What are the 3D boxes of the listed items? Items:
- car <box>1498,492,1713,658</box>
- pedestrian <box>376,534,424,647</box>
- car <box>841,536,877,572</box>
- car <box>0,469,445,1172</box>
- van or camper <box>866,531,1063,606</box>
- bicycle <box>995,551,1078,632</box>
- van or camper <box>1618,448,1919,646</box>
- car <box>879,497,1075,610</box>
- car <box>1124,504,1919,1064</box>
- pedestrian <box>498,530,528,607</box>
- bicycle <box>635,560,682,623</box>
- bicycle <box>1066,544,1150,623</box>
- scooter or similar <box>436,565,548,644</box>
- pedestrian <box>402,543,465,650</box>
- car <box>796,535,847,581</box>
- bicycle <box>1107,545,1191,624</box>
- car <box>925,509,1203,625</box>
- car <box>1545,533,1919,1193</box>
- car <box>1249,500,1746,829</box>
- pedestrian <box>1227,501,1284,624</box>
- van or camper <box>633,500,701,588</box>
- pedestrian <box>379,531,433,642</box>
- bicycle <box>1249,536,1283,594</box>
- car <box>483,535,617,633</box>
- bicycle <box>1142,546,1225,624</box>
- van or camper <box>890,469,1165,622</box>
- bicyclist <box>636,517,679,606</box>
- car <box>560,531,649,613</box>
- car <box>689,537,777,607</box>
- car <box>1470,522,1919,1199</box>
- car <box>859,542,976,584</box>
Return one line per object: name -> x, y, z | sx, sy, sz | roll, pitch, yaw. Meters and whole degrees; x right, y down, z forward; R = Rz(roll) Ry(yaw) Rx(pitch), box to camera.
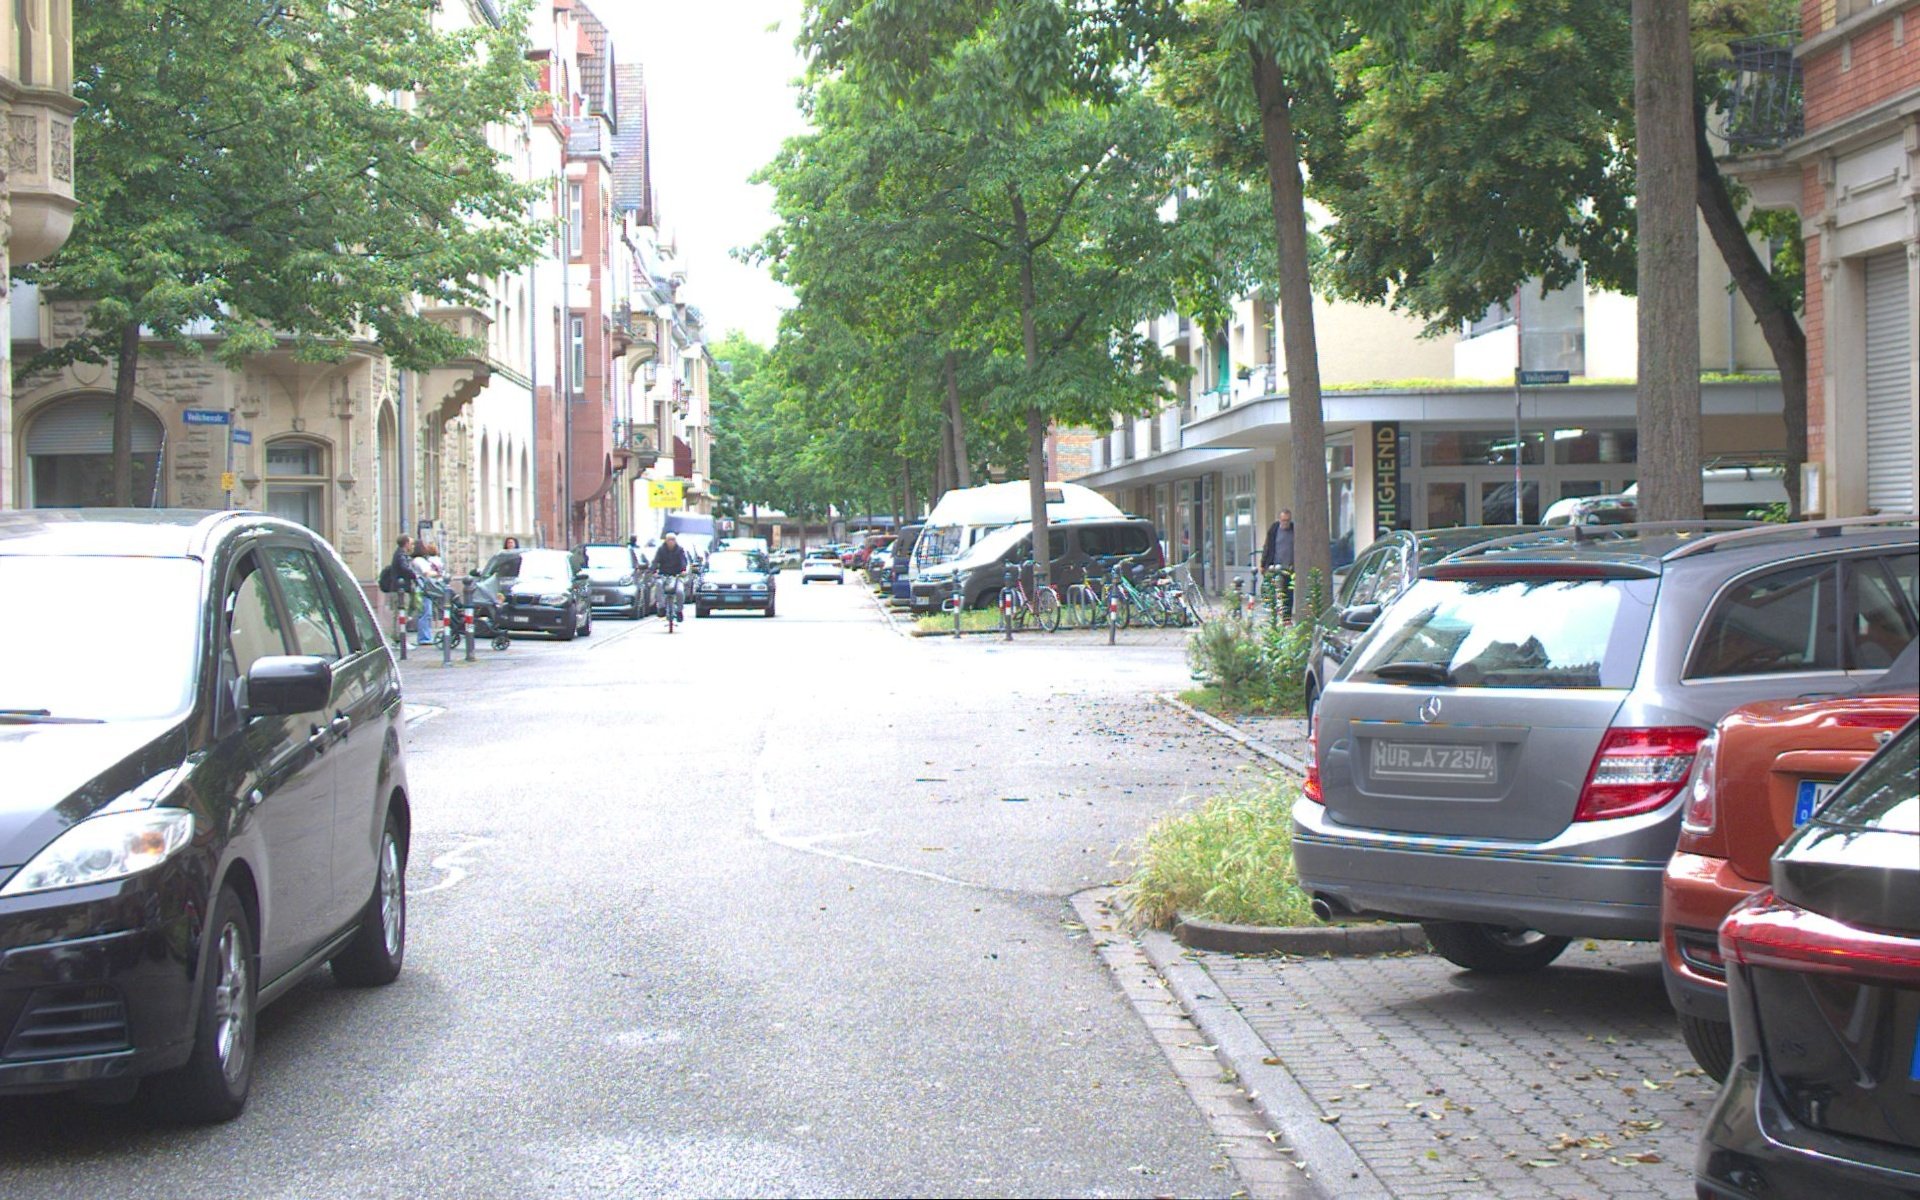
car -> 7.504, -0.312, 40.298 | 1.770, 1.813, 4.000 | -1, 1, 0
pedestrian -> -8.156, -0.146, 50.078 | 0.528, 1.637, 0.528 | 1, 1, 10
car -> -5.869, -2.675, 199.642 | 1.993, 2.007, 4.001 | 2, 1, -3
car -> -2.706, 0.523, 10.062 | 1.809, 1.624, 4.208 | -1, 0, -1
van or camper -> 0.140, -0.880, 95.472 | 5.006, 1.863, 2.127 | -3, 1, -29
bicycle -> 1.130, -0.140, 51.269 | 0.548, 1.169, 1.729 | -1, 1, -24
van or camper -> 11.866, -0.746, 46.130 | 5.772, 2.485, 2.136 | -1, 4, 5
car -> 0.384, -0.962, 69.910 | 2.064, 2.189, 4.392 | -1, 1, 30
car -> 2.806, 0.428, 11.263 | 4.432, 1.422, 1.758 | -4, 1, -39
pedestrian -> -8.871, -0.633, 68.218 | 0.515, 1.513, 0.546 | -1, 1, -2
bicycle -> -5.269, -0.151, 60.129 | 0.634, 1.090, 1.799 | -1, 0, 0
bicycle -> 2.233, -0.253, 52.086 | 0.548, 1.169, 1.729 | -1, 1, -24
scooter or similar -> -6.839, 0.063, 50.292 | 1.469, 1.100, 0.675 | 2, 1, 10
pedestrian -> -7.912, -0.055, 51.669 | 0.631, 1.588, 0.668 | 1, 1, 39
car -> -5.635, -1.697, 140.116 | 1.993, 1.788, 4.000 | 1, 0, -1
bicycle -> 2.869, -0.244, 52.394 | 0.548, 1.169, 1.729 | -1, 1, -24
car -> 1.786, -0.582, 58.781 | 4.331, 1.847, 1.911 | -2, 1, -27
car -> 3.506, 0.508, 8.776 | 3.872, 1.431, 1.746 | -3, 1, -37
car -> 2.739, 0.264, 18.534 | 1.764, 1.481, 4.480 | -3, 1, -2
pedestrian -> 4.328, -0.546, 50.376 | 0.779, 1.791, 0.509 | 0, 1, 0
van or camper -> -9.878, -1.932, 116.335 | 2.008, 2.642, 5.317 | 1, 4, -2
pedestrian -> -8.186, -0.205, 50.777 | 0.616, 1.637, 0.603 | 0, 1, 10
bicycle -> 5.814, -0.675, 65.315 | 0.484, 1.086, 1.701 | -1, 1, 0
car -> -6.575, -0.244, 55.491 | 1.709, 1.489, 4.000 | 1, 0, -1
bicycle -> 3.421, -0.236, 52.798 | 0.548, 1.169, 1.698 | -1, 1, -24
van or camper -> 1.220, -0.988, 61.230 | 4.582, 2.587, 1.911 | -2, 1, -34
bicyclist -> -5.297, -0.674, 60.238 | 0.647, 1.533, 0.677 | -1, 1, 0
car -> -7.235, -0.586, 70.132 | 1.646, 1.565, 2.957 | 1, 2, -3
car -> -4.838, -0.581, 73.548 | 1.708, 1.408, 3.853 | -1, 0, -2
car -> 2.764, 0.581, 5.301 | 3.682, 1.461, 1.705 | -2, 1, -33
car -> -1.604, -1.393, 129.280 | 4.010, 1.554, 1.884 | -1, 1, -33
